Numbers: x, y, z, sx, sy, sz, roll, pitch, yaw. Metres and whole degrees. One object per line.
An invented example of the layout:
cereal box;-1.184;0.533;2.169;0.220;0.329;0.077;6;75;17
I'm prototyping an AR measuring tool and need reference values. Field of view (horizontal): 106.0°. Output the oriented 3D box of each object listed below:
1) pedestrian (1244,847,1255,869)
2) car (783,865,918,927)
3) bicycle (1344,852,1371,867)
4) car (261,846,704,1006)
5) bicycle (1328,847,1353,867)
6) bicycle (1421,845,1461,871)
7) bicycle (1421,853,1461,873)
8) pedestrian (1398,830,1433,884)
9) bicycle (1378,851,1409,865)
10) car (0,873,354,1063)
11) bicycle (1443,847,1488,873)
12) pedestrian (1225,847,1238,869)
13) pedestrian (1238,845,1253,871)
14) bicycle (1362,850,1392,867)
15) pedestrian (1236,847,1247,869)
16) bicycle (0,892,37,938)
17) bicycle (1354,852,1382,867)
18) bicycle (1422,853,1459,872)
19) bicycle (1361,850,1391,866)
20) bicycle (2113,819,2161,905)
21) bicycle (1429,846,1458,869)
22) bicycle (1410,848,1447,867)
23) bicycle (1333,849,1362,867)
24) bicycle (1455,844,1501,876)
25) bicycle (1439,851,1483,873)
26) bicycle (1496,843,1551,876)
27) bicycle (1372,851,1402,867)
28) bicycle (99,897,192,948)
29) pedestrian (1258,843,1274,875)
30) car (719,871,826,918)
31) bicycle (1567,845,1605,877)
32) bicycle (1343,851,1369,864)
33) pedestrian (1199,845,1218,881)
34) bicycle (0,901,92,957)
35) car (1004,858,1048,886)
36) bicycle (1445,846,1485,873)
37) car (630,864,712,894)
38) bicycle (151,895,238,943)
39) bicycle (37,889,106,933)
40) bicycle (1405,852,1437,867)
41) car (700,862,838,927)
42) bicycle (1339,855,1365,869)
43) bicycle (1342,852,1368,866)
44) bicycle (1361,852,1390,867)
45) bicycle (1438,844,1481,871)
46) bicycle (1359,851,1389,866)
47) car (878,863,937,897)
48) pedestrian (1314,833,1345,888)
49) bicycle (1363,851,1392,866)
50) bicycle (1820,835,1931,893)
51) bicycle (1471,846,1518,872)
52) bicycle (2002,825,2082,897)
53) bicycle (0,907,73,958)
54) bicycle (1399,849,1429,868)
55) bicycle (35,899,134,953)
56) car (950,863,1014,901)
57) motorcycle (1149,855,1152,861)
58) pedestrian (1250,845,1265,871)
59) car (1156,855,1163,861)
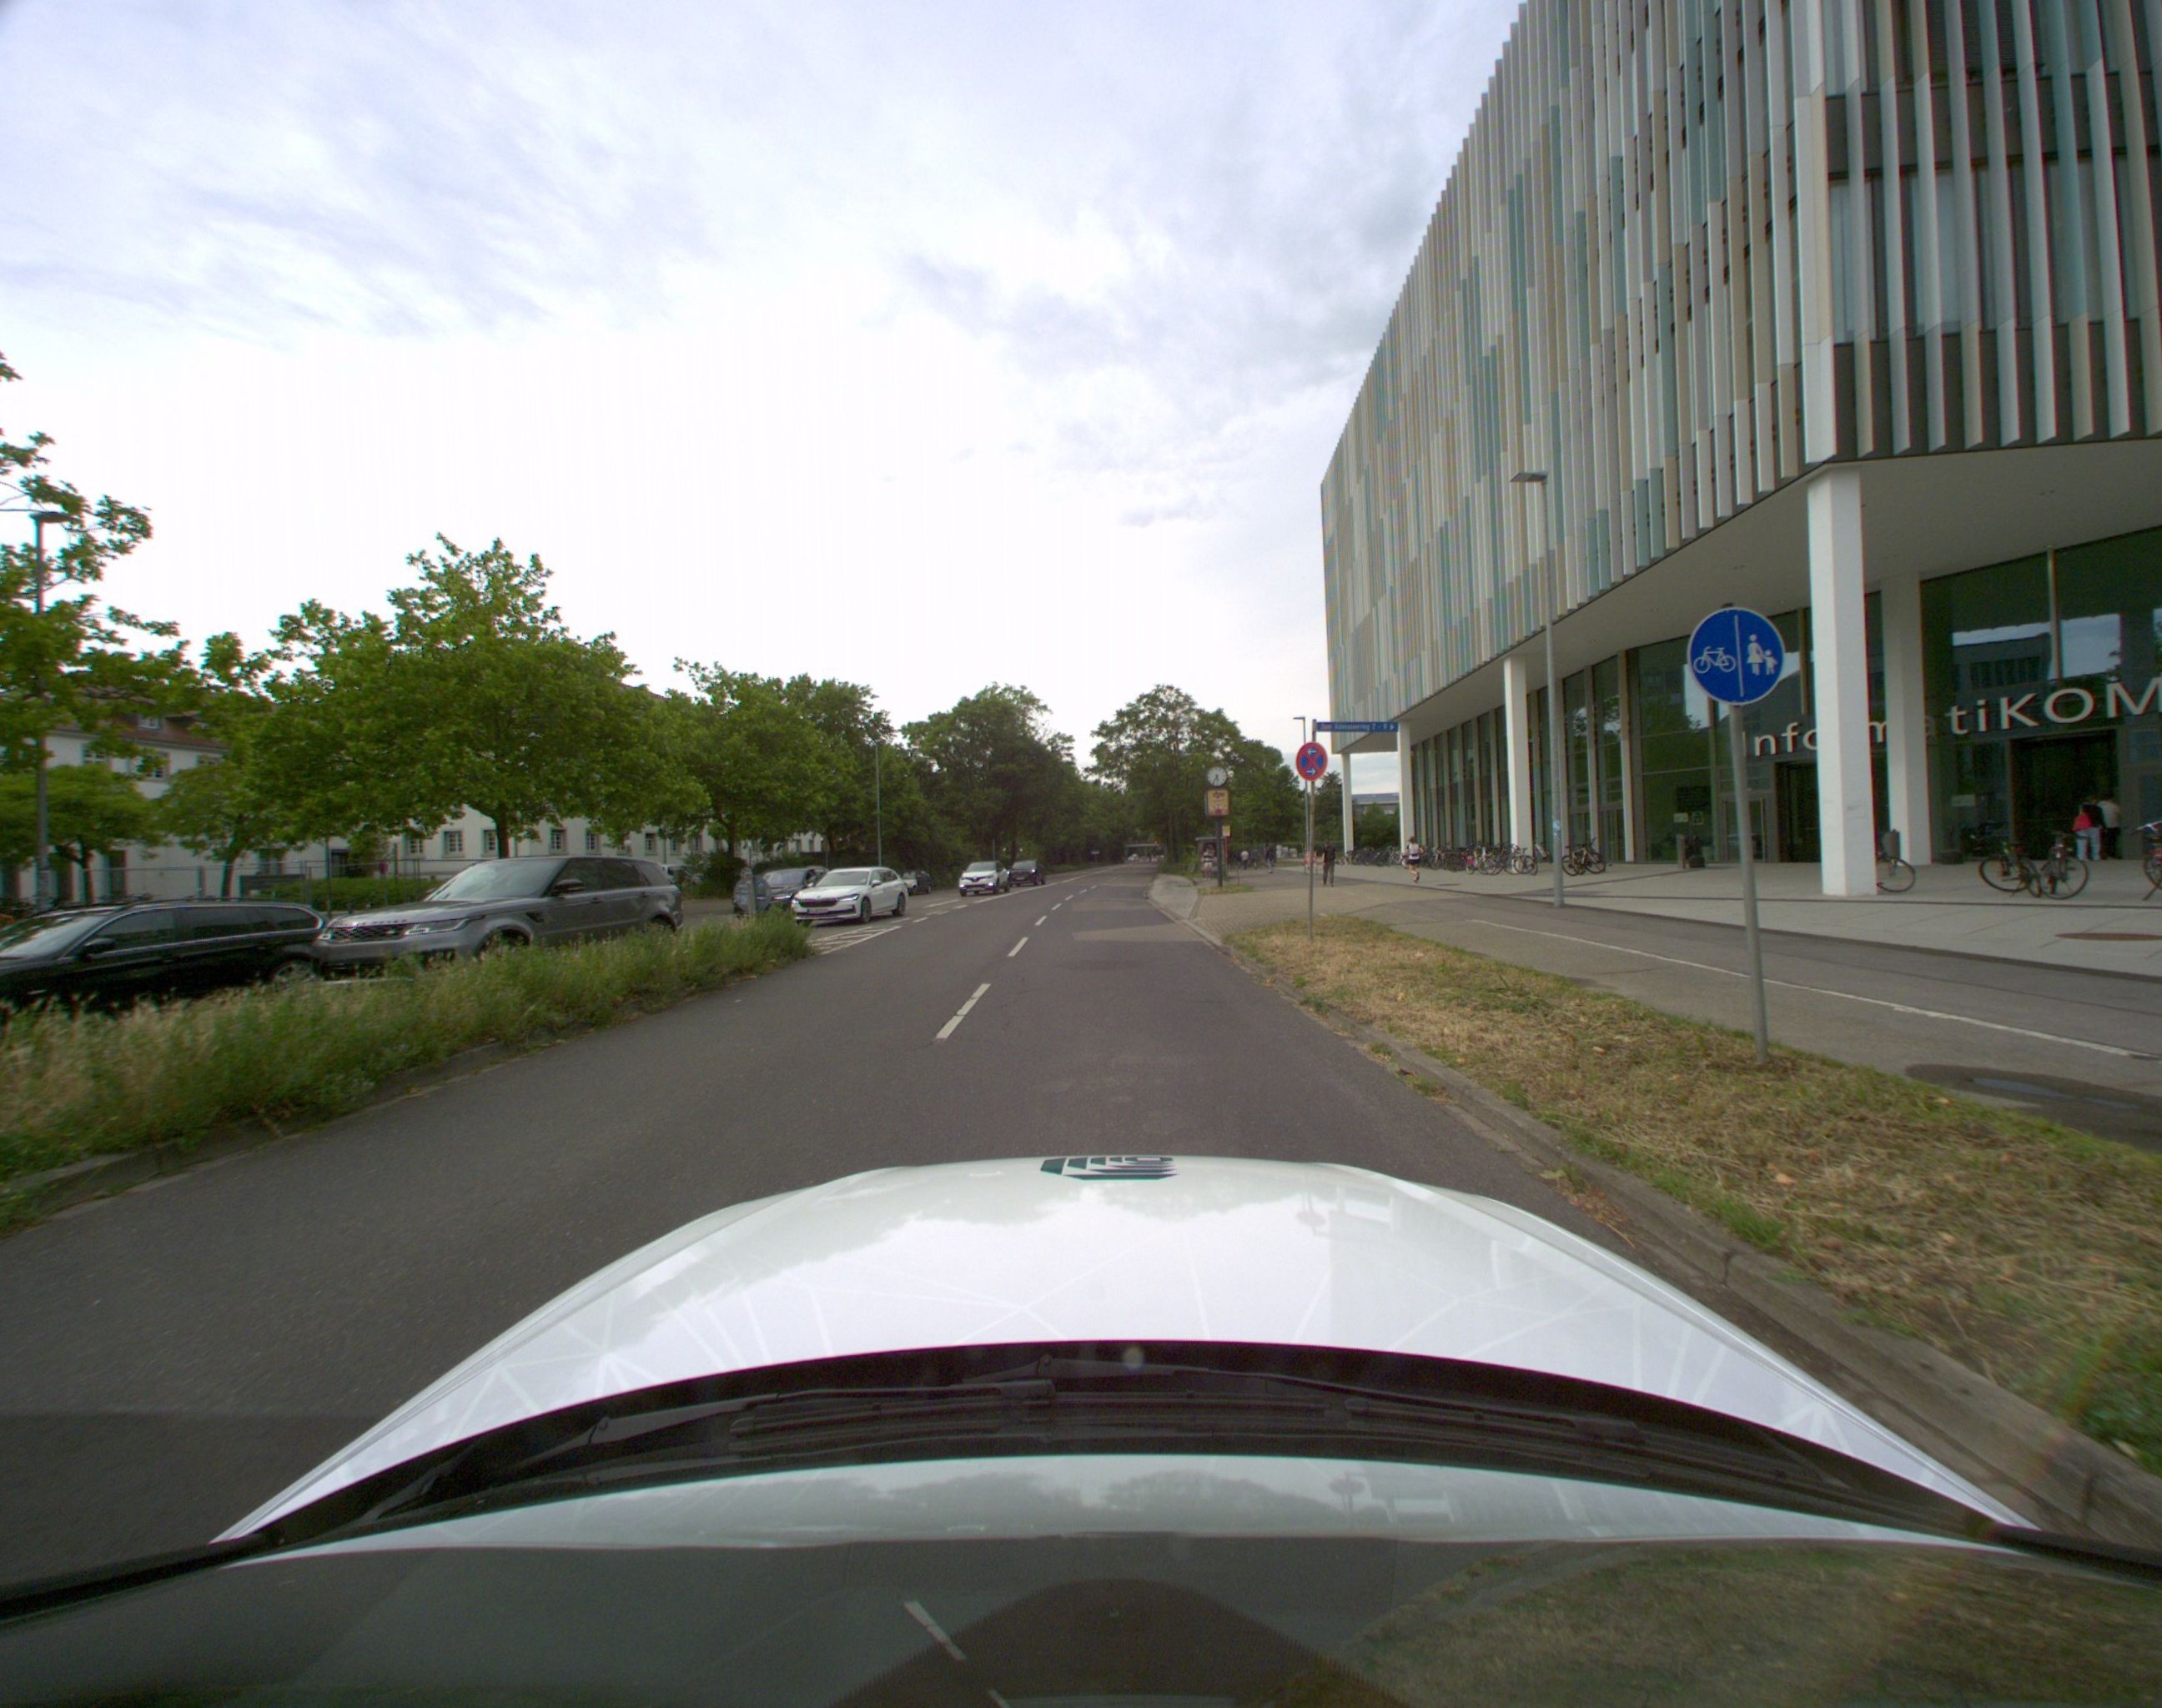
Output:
pedestrian;15.805;0.348;76.340;0.820;2.014;0.721;-3;-1;5
car;-6.195;1.082;22.585;1.894;1.465;4.919;-1;0;6
bicycle;18.421;0.363;54.236;1.598;0.875;0.557;-4;-1;6
car;-7.565;0.779;11.158;1.983;1.687;4.958;-1;0;7
bicycle;19.114;0.190;59.933;1.634;1.333;0.465;-5;-1;19
bicycle;17.459;0.201;39.493;1.634;1.102;0.574;-4;-1;9
bicycle;16.991;0.426;38.433;1.598;0.875;0.557;-3;-1;6
pedestrian;11.775;0.112;28.716;0.838;1.836;0.895;-2;-1;5
bicycle;18.121;0.238;47.294;1.552;0.716;0.557;-3;-1;6
car;-10.663;1.123;8.821;1.690;1.689;4.007;-3;-1;6
bicycle;16.644;0.249;35.238;1.598;0.982;0.557;-5;-1;6
pedestrian;14.145;0.416;76.500;0.922;2.014;1.040;-3;-1;1
pedestrian;13.407;0.328;66.324;0.922;2.014;1.040;-3;-1;1
bicycle;17.727;0.269;48.816;1.598;0.875;0.557;-3;-1;6
pedestrian;14.914;0.397;75.887;0.821;2.014;0.720;-3;-1;1
bicycle;-38.611;2.193;29.015;3.051;1.559;0.928;-3;-1;23
bicycle;18.885;0.363;53.575;1.598;0.875;0.557;-3;-1;6
bicycle;17.804;0.425;40.385;1.598;0.896;0.367;-3;-1;6
bicycle;18.061;0.270;49.832;1.598;0.875;0.557;-3;-1;6
bicycle;16.381;0.081;12.350;2.732;1.188;0.766;-2;-1;-36
bicycle;18.023;0.184;40.481;1.190;1.050;0.436;-4;-1;12
bicycle;18.258;0.183;42.794;1.680;0.947;0.518;-3;-1;12
bicycle;19.005;0.283;58.154;1.786;1.082;0.627;-5;-1;4
bicycle;15.177;0.224;31.195;0.633;1.140;2.202;-5;-1;2
bicycle;16.710;0.351;35.832;1.598;0.875;0.557;-3;-1;6
bicycle;15.371;0.205;28.354;0.607;1.080;1.959;-4;0;-5
bicycle;17.586;0.279;46.809;1.524;0.833;0.557;-3;-1;6
bicycle;-32.339;2.360;28.175;2.390;1.594;0.722;-3;-1;2
pedestrian;11.818;0.326;51.923;0.838;2.014;0.896;-2;-1;7
car;-11.704;1.494;31.283;1.849;1.607;4.602;-1;0;7
bicycle;16.387;0.221;26.425;1.494;0.929;0.436;-3;1;-33
bicycle;19.258;0.252;56.980;1.600;0.875;0.556;-3;-1;2
pedestrian;7.508;0.538;48.032;0.908;2.013;0.855;-4;1;5
bicycle;-32.605;2.352;25.511;2.390;1.594;0.722;-3;-1;2
car;-3.328;1.065;49.919;1.893;1.593;4.524;-3;-1;6
bicycle;16.354;0.229;34.693;1.393;1.043;0.560;-5;-1;6
car;-22.230;1.342;44.237;3.570;1.602;1.654;-1;0;3
bicycle;-32.548;2.369;29.915;2.390;1.594;0.722;-3;-1;2
bicycle;-38.358;2.181;30.936;2.635;1.559;0.928;-3;-1;23
bicycle;18.133;0.297;43.422;1.427;0.746;0.557;-3;-1;6
car;-9.241;1.127;24.584;1.983;1.694;4.475;-3;-1;6
bicycle;18.666;0.554;56.174;1.598;0.875;0.557;-3;-1;6
bicycle;18.566;0.360;55.221;1.598;0.875;0.557;-3;-1;6
bicycle;18.937;0.343;52.374;1.598;0.875;0.557;-3;-1;6
bicycle;17.088;0.170;36.789;1.632;1.091;0.574;-5;-1;14
bicycle;18.130;0.270;50.413;1.598;0.875;0.557;-3;-1;6
car;-9.511;1.393;45.031;1.983;1.689;4.007;-2;-1;6
pedestrian;9.423;0.256;30.900;0.838;2.013;0.896;-4;-1;7
bicycle;17.496;0.268;48.059;1.447;0.839;0.557;-3;-1;6
bicycle;15.544;0.191;16.001;0.634;1.061;1.846;-1;0;10
bicycle;17.067;0.219;33.673;1.594;0.936;0.571;-5;0;16
bicycle;16.266;0.096;13.772;2.193;1.115;0.728;-2;-1;-37
bicycle;-26.947;1.982;20.314;2.736;1.174;0.722;-3;-1;2
bicycle;17.056;0.246;41.705;1.276;0.875;0.557;-3;-1;6
bicycle;-32.631;2.356;26.684;2.390;1.594;0.722;-3;-1;2
car;-4.568;1.263;38.130;1.983;1.547;4.187;-4;-1;6
motorcycle;21.376;1.248;251.026;0.985;1.936;2.673;-1;0;6
pedestrian;14.299;0.330;66.059;0.922;2.014;1.040;-3;-1;1
car;23.833;1.215;247.071;1.834;2.014;4.007;-1;0;6
